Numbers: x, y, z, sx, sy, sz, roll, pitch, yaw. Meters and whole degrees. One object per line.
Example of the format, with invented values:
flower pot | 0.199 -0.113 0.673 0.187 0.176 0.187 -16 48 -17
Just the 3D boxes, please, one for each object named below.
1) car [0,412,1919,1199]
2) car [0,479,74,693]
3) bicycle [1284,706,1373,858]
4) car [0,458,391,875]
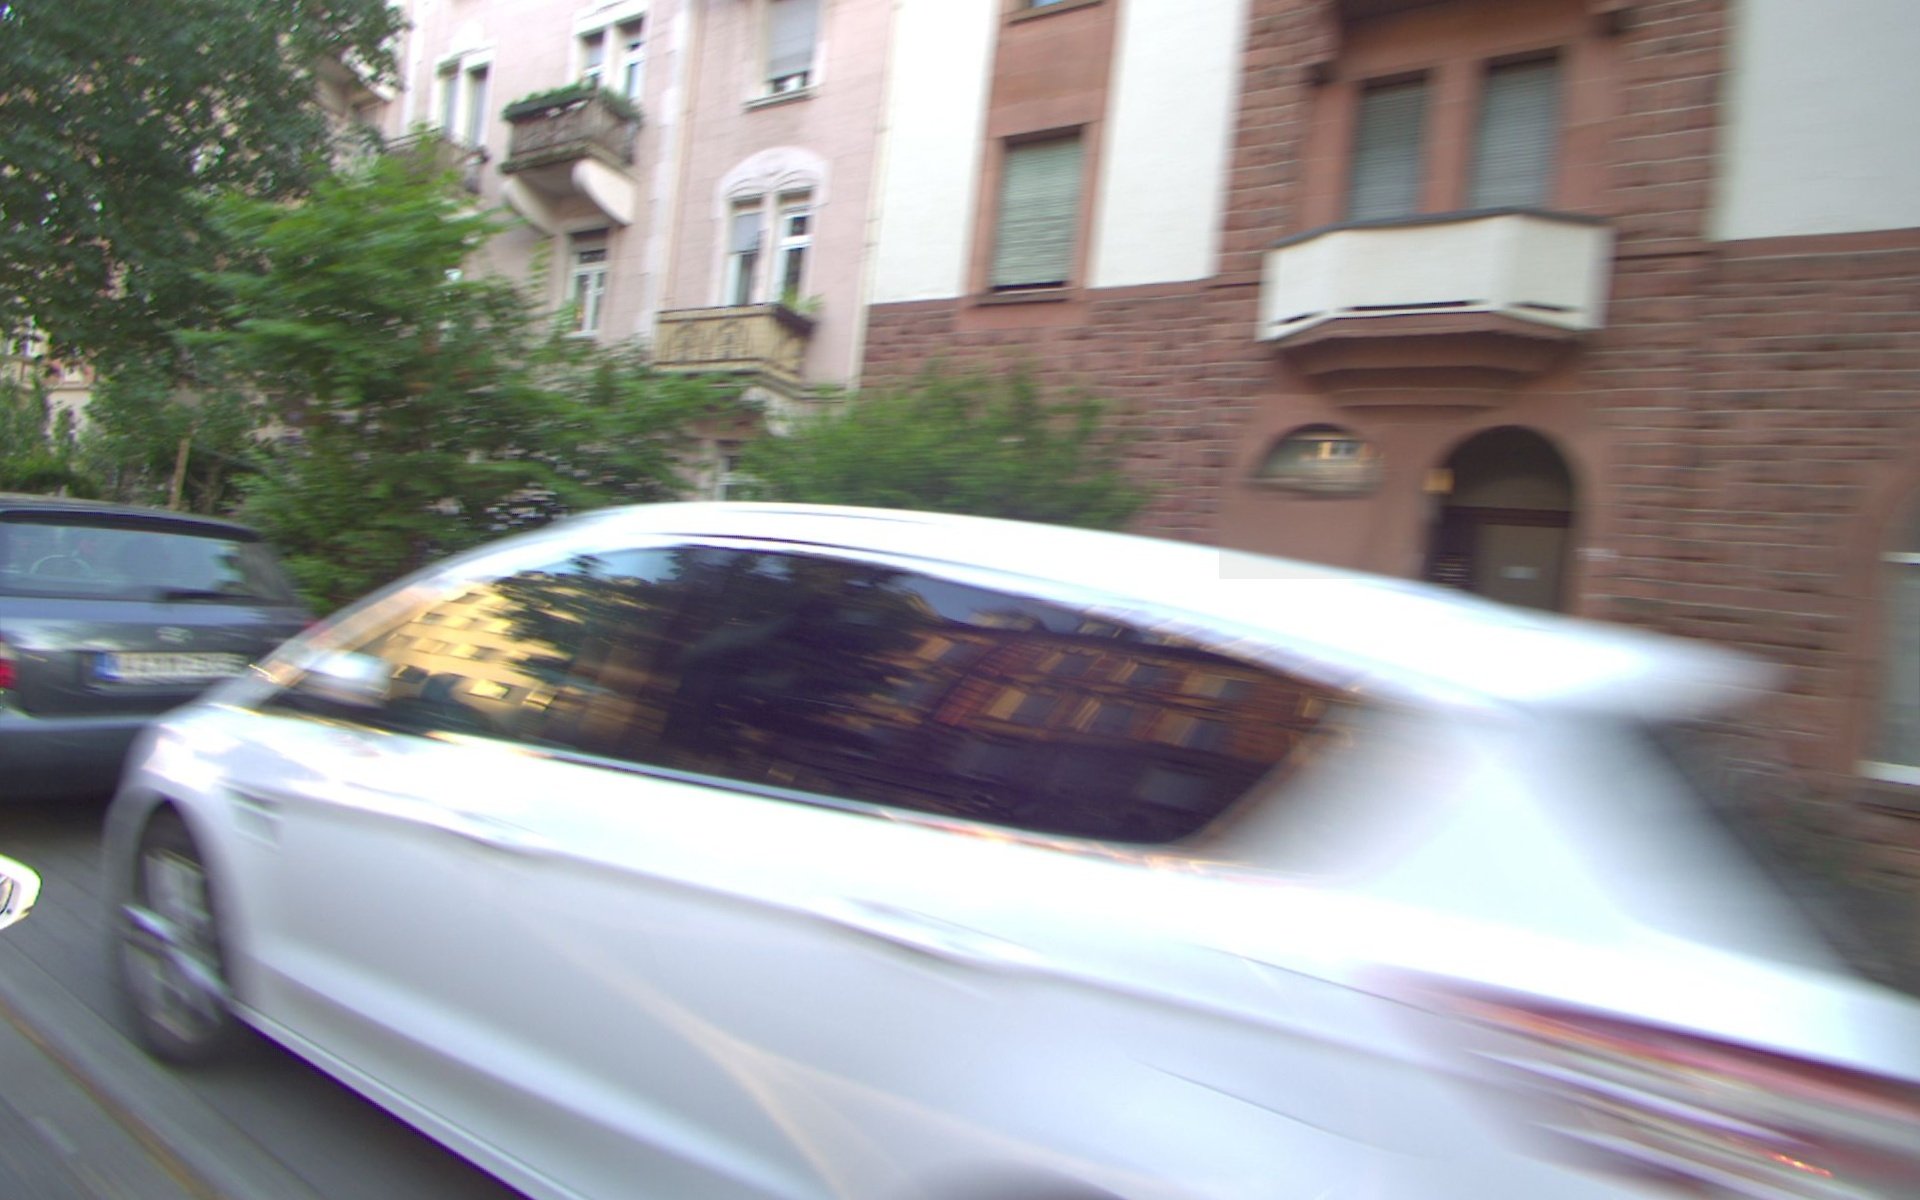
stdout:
car | -0.559 0.565 2.718 4.522 1.732 1.801 6 0 29
car | -9.139 -0.308 8.173 3.685 1.625 1.690 6 -1 29
bicycle | 3.087 1.456 8.353 0.325 1.047 1.511 8 1 30
car | -5.142 0.139 5.533 4.142 1.625 1.688 6 -1 33
